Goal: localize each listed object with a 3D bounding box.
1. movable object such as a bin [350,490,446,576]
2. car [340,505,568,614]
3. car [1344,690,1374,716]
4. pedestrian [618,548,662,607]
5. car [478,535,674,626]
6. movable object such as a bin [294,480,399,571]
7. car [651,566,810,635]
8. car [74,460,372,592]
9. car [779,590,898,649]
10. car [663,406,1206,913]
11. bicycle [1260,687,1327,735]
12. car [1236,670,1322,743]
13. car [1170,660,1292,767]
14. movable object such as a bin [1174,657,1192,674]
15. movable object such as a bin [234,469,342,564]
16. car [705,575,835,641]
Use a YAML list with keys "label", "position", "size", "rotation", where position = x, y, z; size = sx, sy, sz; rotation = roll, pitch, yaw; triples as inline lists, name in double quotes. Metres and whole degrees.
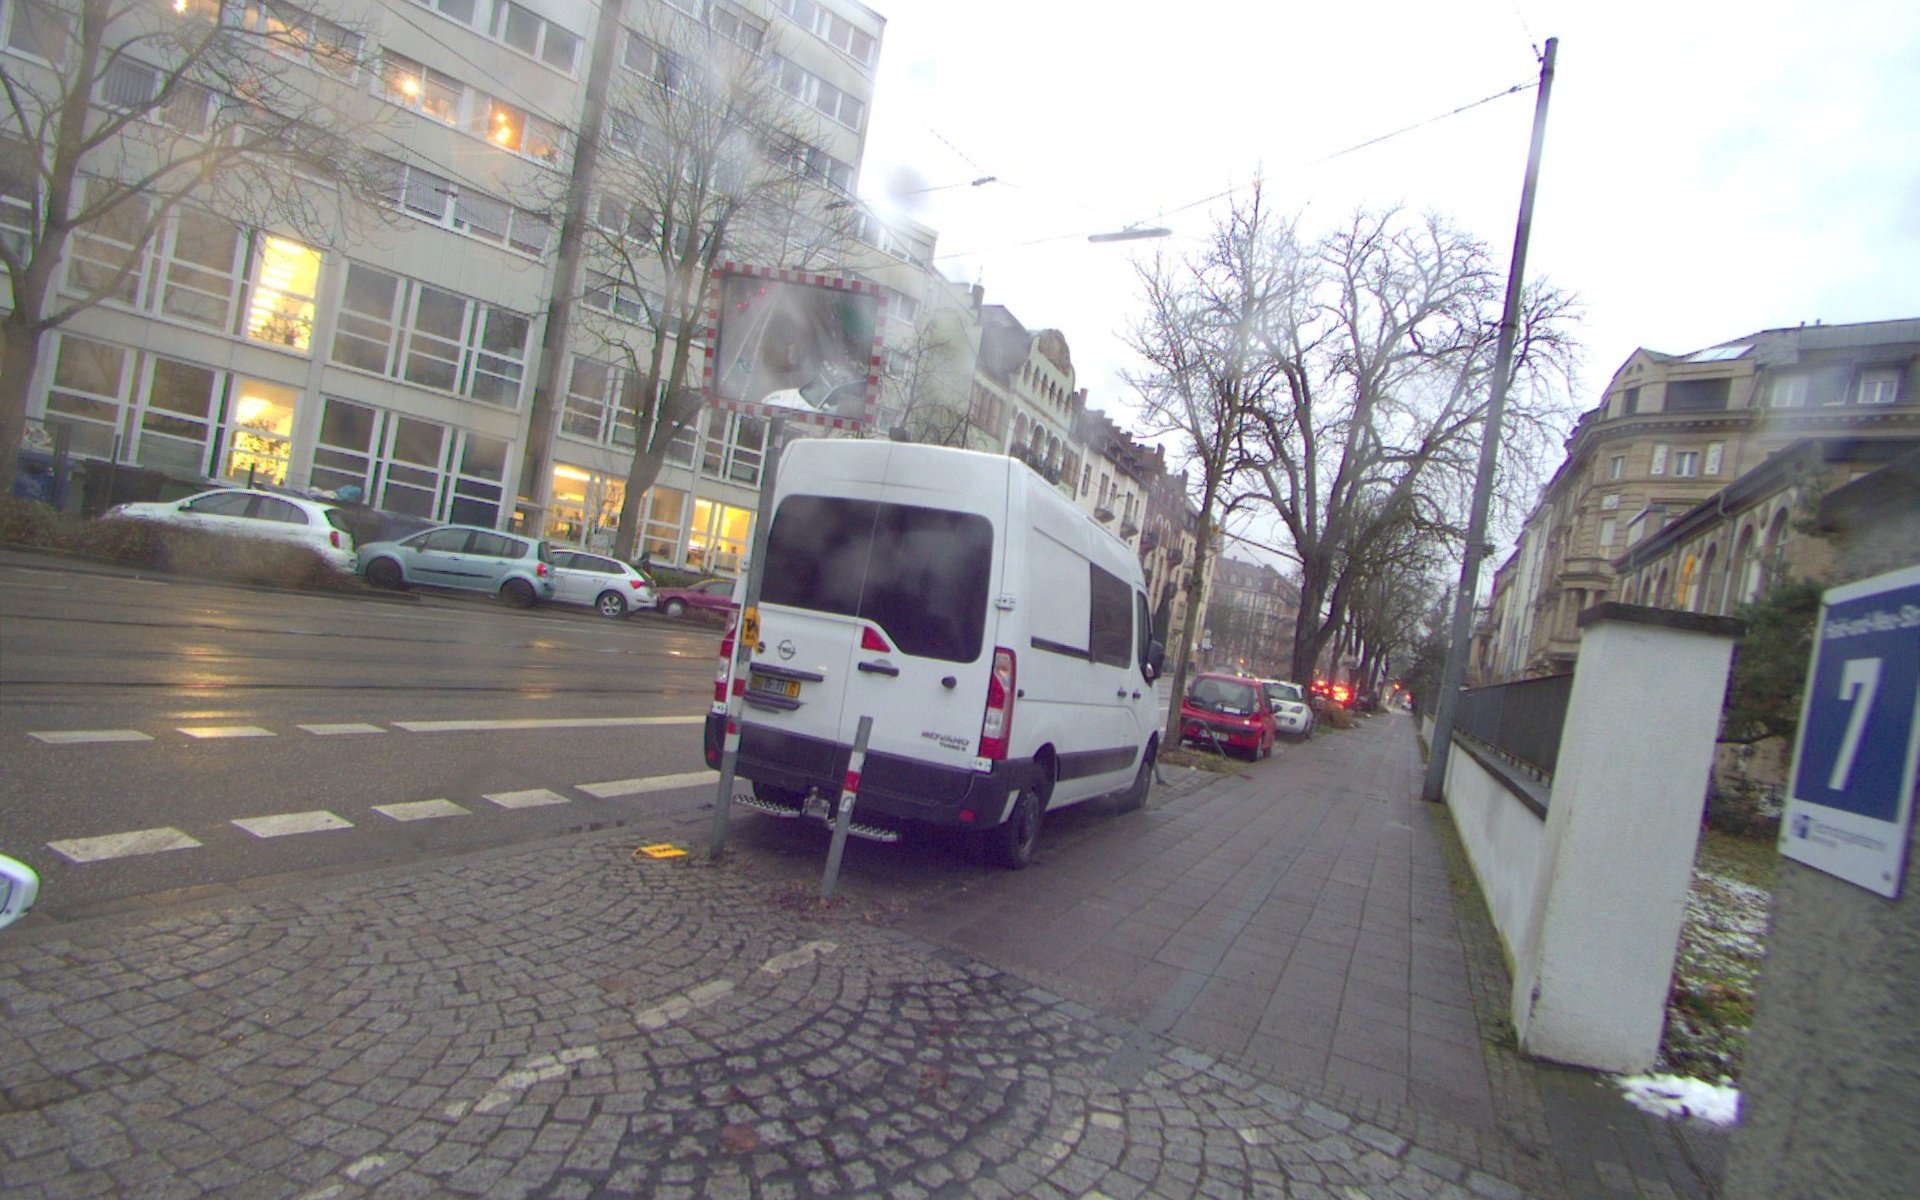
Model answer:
- label: "movable object such as a bin"
  position: [-14.450, -1.725, 25.889]
  size: [1.547, 1.883, 1.316]
  rotation: [9, 1, 26]
- label: "car"
  position: [-10.652, -0.830, 21.492]
  size: [3.943, 1.582, 1.730]
  rotation: [10, 0, -17]
- label: "car"
  position: [28.349, 7.299, 71.382]
  size: [1.652, 1.477, 4.043]
  rotation: [9, -1, 24]
- label: "pedestrian"
  position: [-10.028, -0.701, 31.568]
  size: [0.588, 1.697, 0.973]
  rotation: [9, 1, 25]
- label: "car"
  position: [-9.129, -0.440, 24.207]
  size: [3.934, 1.460, 1.735]
  rotation: [10, -1, -8]
- label: "movable object such as a bin"
  position: [-15.033, -1.815, 24.673]
  size: [1.547, 1.883, 1.392]
  rotation: [9, 1, 26]
- label: "car"
  position: [-6.901, 0.015, 30.257]
  size: [4.294, 1.367, 1.740]
  rotation: [10, -1, -24]
- label: "car"
  position: [-12.999, -1.258, 18.045]
  size: [3.825, 1.570, 1.685]
  rotation: [10, 0, -20]
- label: "car"
  position: [-4.363, 0.711, 36.159]
  size: [3.802, 1.440, 1.728]
  rotation: [10, 0, -21]
- label: "car"
  position: [0.361, 0.433, 8.172]
  size: [2.092, 2.516, 5.439]
  rotation: [9, 0, 22]
- label: "bicycle"
  position: [9.818, 3.250, 29.611]
  size: [1.688, 1.084, 0.663]
  rotation: [9, 1, 25]
- label: "car"
  position: [8.639, 2.820, 27.049]
  size: [1.666, 1.537, 3.637]
  rotation: [9, 0, 24]
- label: "car"
  position: [5.266, 2.098, 19.255]
  size: [1.618, 1.541, 3.573]
  rotation: [10, 0, 22]
- label: "movable object such as a bin"
  position: [23.495, 6.850, 105.804]
  size: [1.388, 1.549, 1.364]
  rotation: [9, 0, 25]
- label: "movable object such as a bin"
  position: [-15.613, -1.926, 23.405]
  size: [1.547, 1.883, 1.316]
  rotation: [9, 1, 26]
- label: "car"
  position: [-6.203, 0.286, 33.038]
  size: [3.936, 1.480, 1.734]
  rotation: [10, -1, -10]
